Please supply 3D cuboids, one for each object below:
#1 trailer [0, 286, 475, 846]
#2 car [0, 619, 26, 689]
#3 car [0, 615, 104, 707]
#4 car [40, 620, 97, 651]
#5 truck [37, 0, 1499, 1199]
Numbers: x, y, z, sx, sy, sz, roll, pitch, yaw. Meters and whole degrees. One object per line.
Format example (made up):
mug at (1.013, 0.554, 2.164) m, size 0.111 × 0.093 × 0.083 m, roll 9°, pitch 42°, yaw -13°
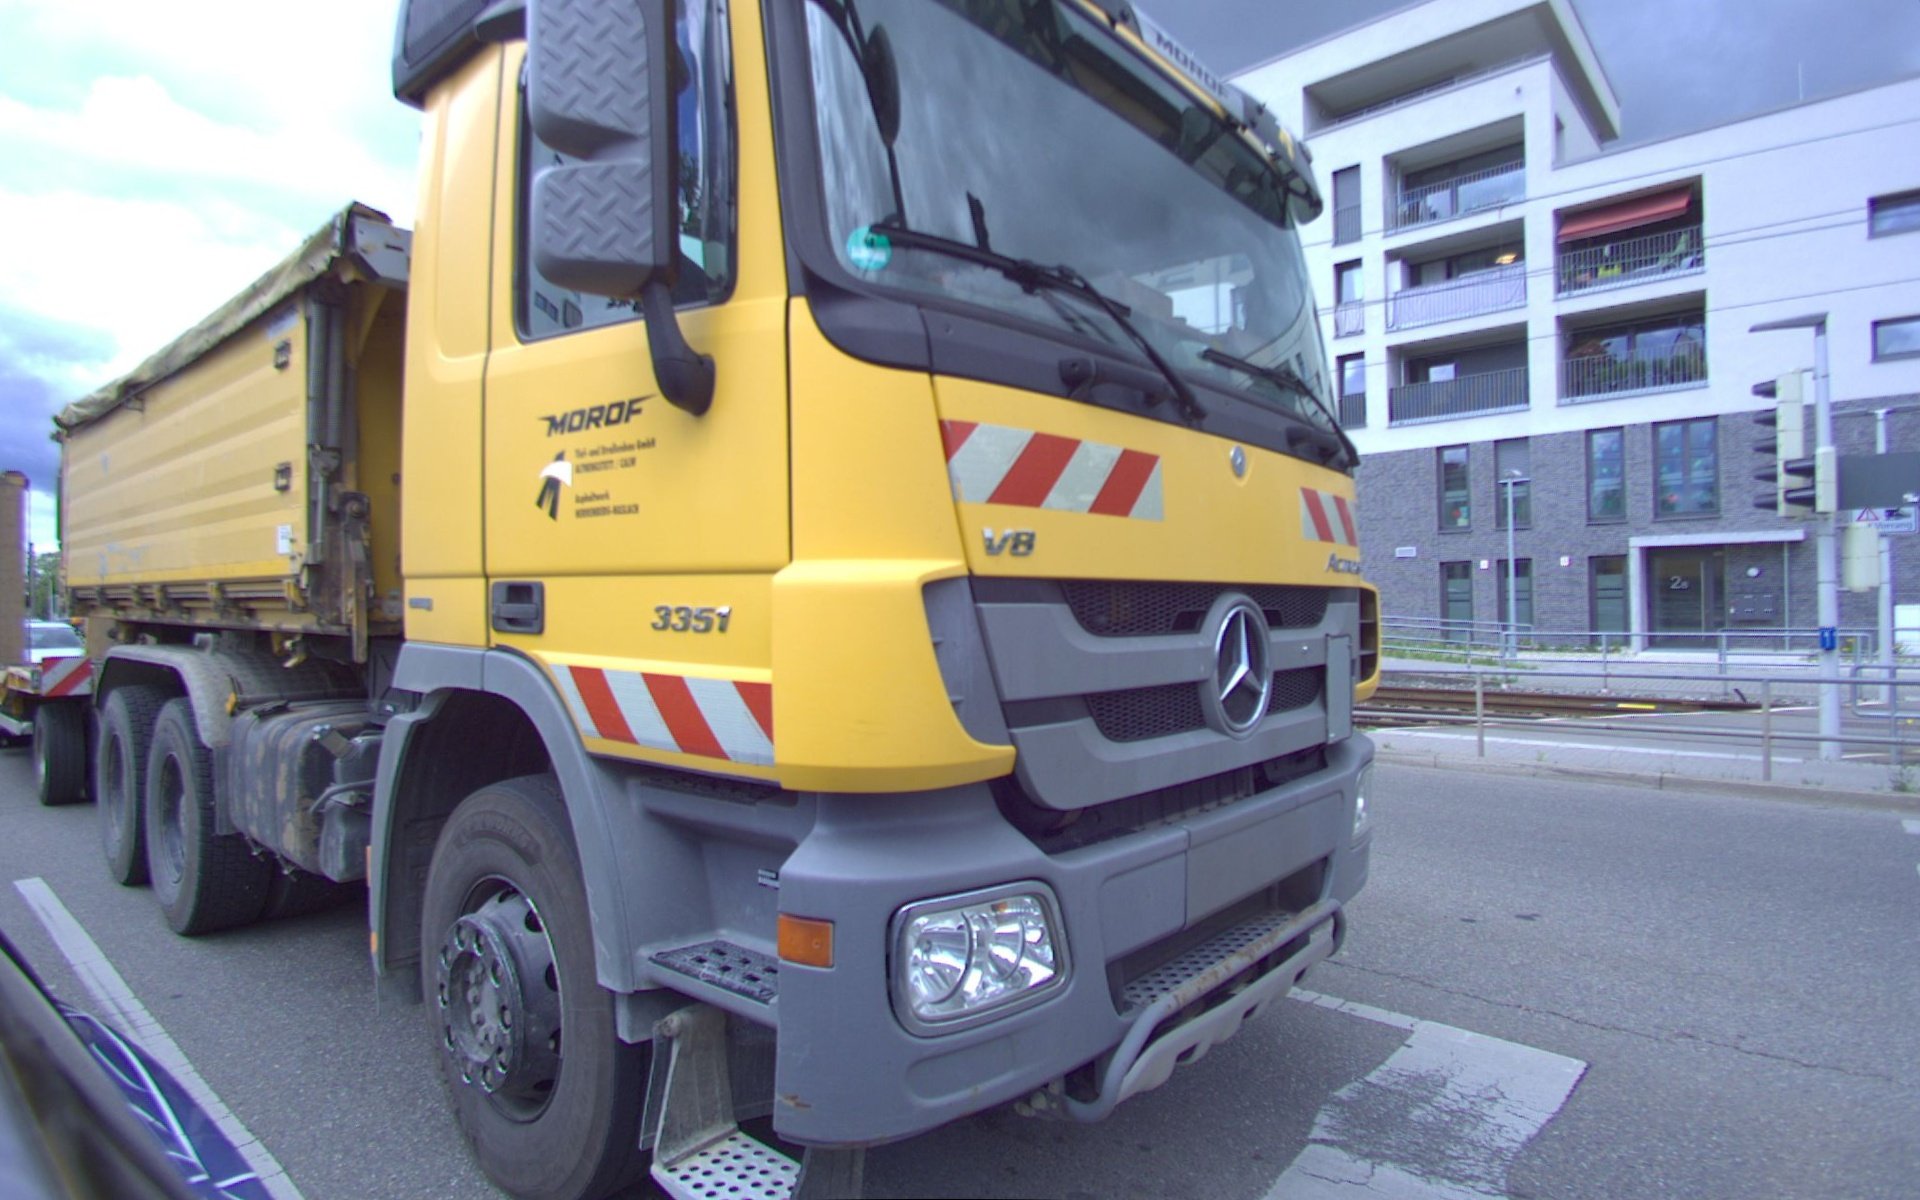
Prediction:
trailer at (-8.977, -0.150, 11.081) m, size 10.912 × 3.548 × 2.677 m, roll -1°, pitch 0°, yaw 42°
car at (-22.780, 1.214, 23.198) m, size 3.999 × 1.490 × 1.670 m, roll 0°, pitch 0°, yaw 42°
car at (-17.289, 1.058, 18.748) m, size 3.999 × 1.490 × 1.670 m, roll 0°, pitch 0°, yaw 42°
car at (-44.881, 1.758, 50.941) m, size 4.043 × 1.480 × 1.758 m, roll -2°, pitch -1°, yaw 43°
truck at (-2.073, 0.012, 4.810) m, size 7.777 × 3.026 × 2.691 m, roll 0°, pitch 0°, yaw 42°
